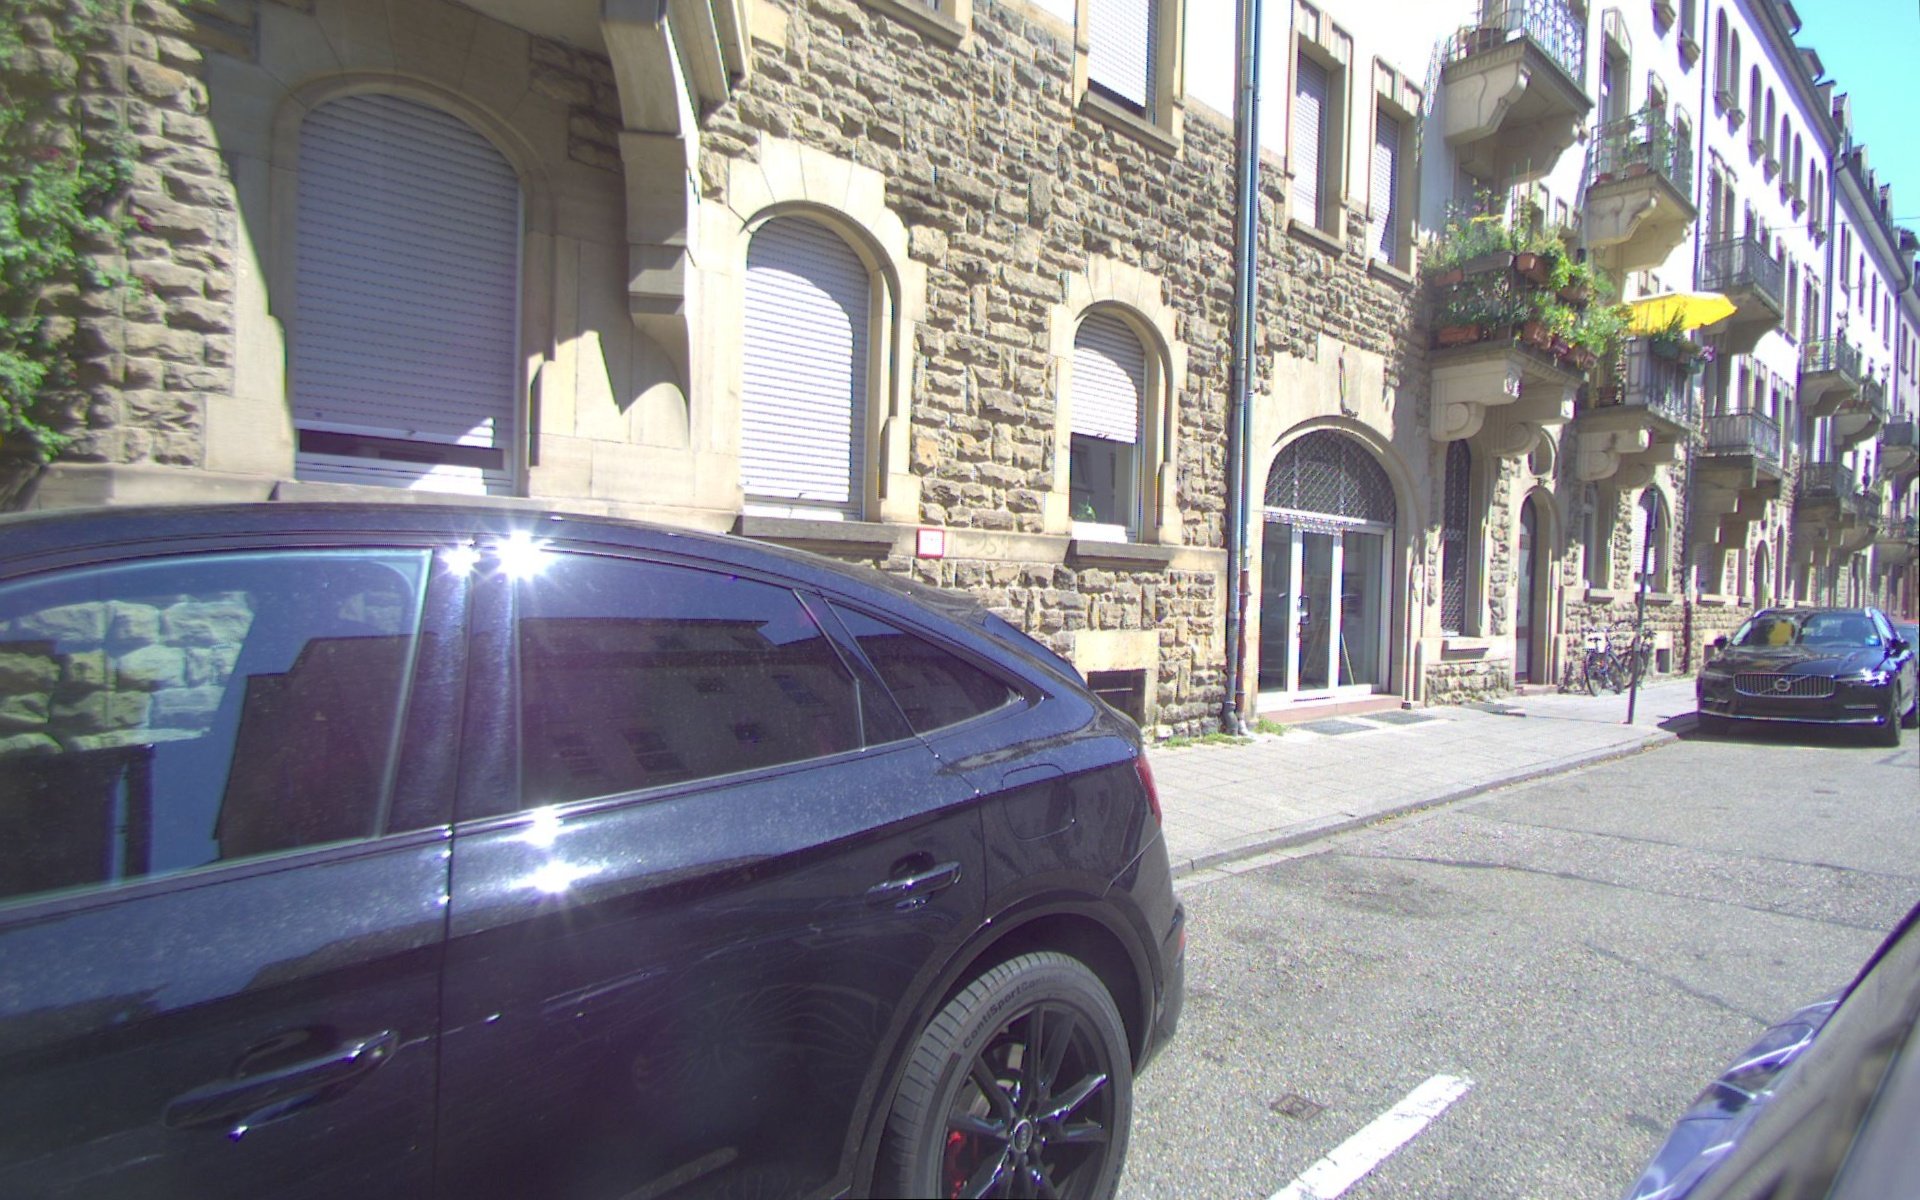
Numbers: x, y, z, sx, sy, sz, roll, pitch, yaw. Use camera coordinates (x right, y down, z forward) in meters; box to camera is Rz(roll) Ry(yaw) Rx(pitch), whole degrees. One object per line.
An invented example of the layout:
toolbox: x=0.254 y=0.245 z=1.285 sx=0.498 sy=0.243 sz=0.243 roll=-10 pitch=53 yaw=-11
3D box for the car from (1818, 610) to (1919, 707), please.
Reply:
car: x=15.426 y=0.893 z=16.674 sx=3.905 sy=1.416 sz=1.514 roll=0 pitch=-1 yaw=-43

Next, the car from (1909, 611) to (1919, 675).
car: x=23.805 y=0.990 z=23.926 sx=3.788 sy=1.471 sz=1.592 roll=0 pitch=-1 yaw=-41

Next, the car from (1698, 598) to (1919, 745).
car: x=11.261 y=0.777 z=13.149 sx=4.526 sy=1.587 sz=1.835 roll=0 pitch=-1 yaw=-42

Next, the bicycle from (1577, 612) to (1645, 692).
bicycle: x=10.641 y=0.815 z=16.519 sx=1.743 sy=1.222 sz=0.385 roll=0 pitch=2 yaw=-40

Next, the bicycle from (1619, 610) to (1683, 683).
bicycle: x=12.355 y=0.804 z=18.090 sx=1.743 sy=1.222 sz=0.442 roll=0 pitch=2 yaw=-40

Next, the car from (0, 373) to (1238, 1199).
car: x=-1.418 y=0.591 z=1.702 sx=4.276 sy=1.617 sz=1.737 roll=0 pitch=-1 yaw=-44

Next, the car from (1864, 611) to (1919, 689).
car: x=19.681 y=0.972 z=20.504 sx=3.775 sy=1.471 sz=1.573 roll=0 pitch=-1 yaw=-41
